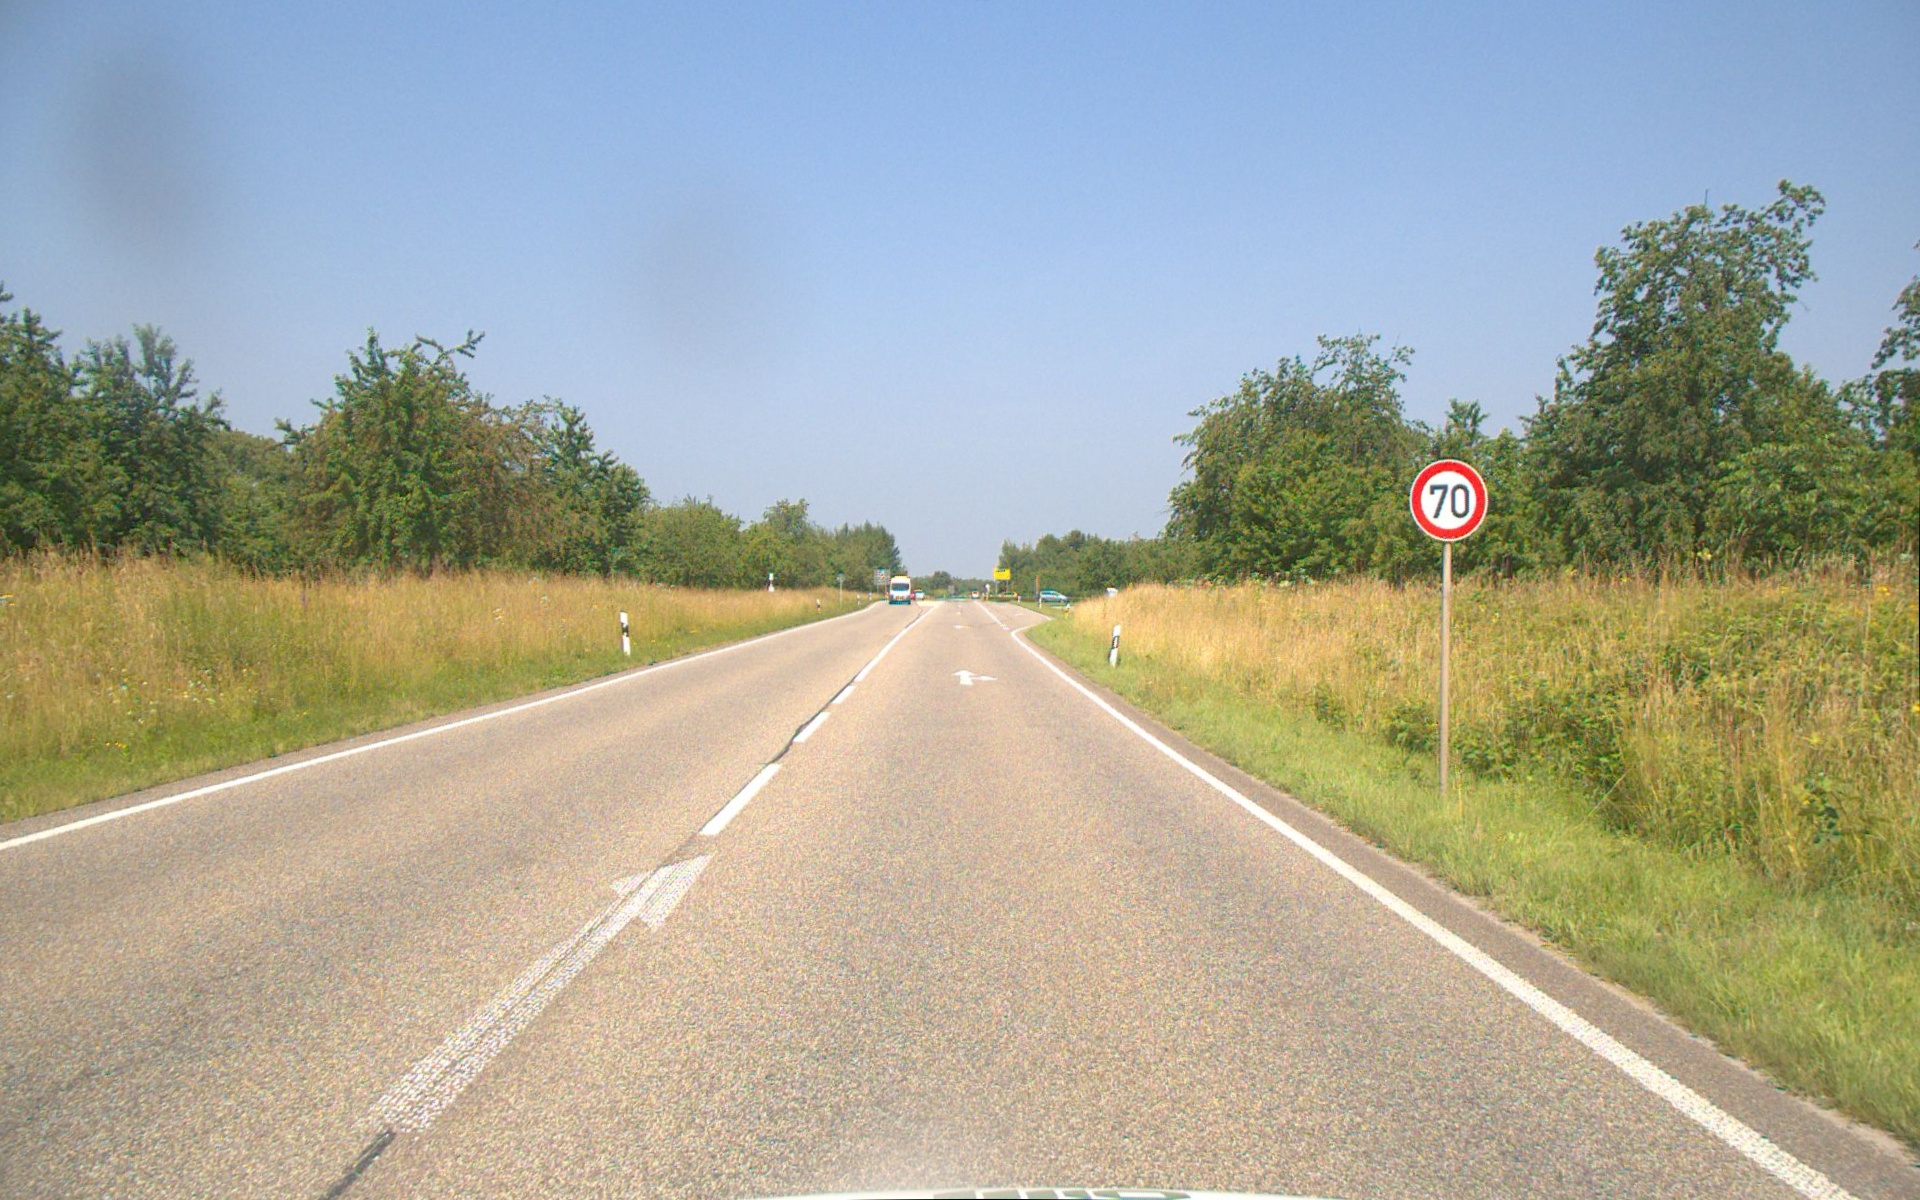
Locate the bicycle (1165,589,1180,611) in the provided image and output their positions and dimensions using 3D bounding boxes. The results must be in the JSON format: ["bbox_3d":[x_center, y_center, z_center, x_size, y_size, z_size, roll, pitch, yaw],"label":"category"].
[{"bbox_3d":[13.928,-0.027,108.406,0.734,1.443,2.221,0,0,0],"label":"bicycle"}]

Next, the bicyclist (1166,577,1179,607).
[{"bbox_3d":[13.928,-0.526,108.417,0.734,1.963,0.827,0,0,0],"label":"bicyclist"}]

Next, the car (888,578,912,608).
[{"bbox_3d":[-5.764,-0.654,158.798,2.117,2.715,6.141,1,0,-1],"label":"car"}]

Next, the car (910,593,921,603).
[{"bbox_3d":[-6.931,-0.259,258.742,1.641,1.520,4.135,1,0,-2],"label":"car"}]
